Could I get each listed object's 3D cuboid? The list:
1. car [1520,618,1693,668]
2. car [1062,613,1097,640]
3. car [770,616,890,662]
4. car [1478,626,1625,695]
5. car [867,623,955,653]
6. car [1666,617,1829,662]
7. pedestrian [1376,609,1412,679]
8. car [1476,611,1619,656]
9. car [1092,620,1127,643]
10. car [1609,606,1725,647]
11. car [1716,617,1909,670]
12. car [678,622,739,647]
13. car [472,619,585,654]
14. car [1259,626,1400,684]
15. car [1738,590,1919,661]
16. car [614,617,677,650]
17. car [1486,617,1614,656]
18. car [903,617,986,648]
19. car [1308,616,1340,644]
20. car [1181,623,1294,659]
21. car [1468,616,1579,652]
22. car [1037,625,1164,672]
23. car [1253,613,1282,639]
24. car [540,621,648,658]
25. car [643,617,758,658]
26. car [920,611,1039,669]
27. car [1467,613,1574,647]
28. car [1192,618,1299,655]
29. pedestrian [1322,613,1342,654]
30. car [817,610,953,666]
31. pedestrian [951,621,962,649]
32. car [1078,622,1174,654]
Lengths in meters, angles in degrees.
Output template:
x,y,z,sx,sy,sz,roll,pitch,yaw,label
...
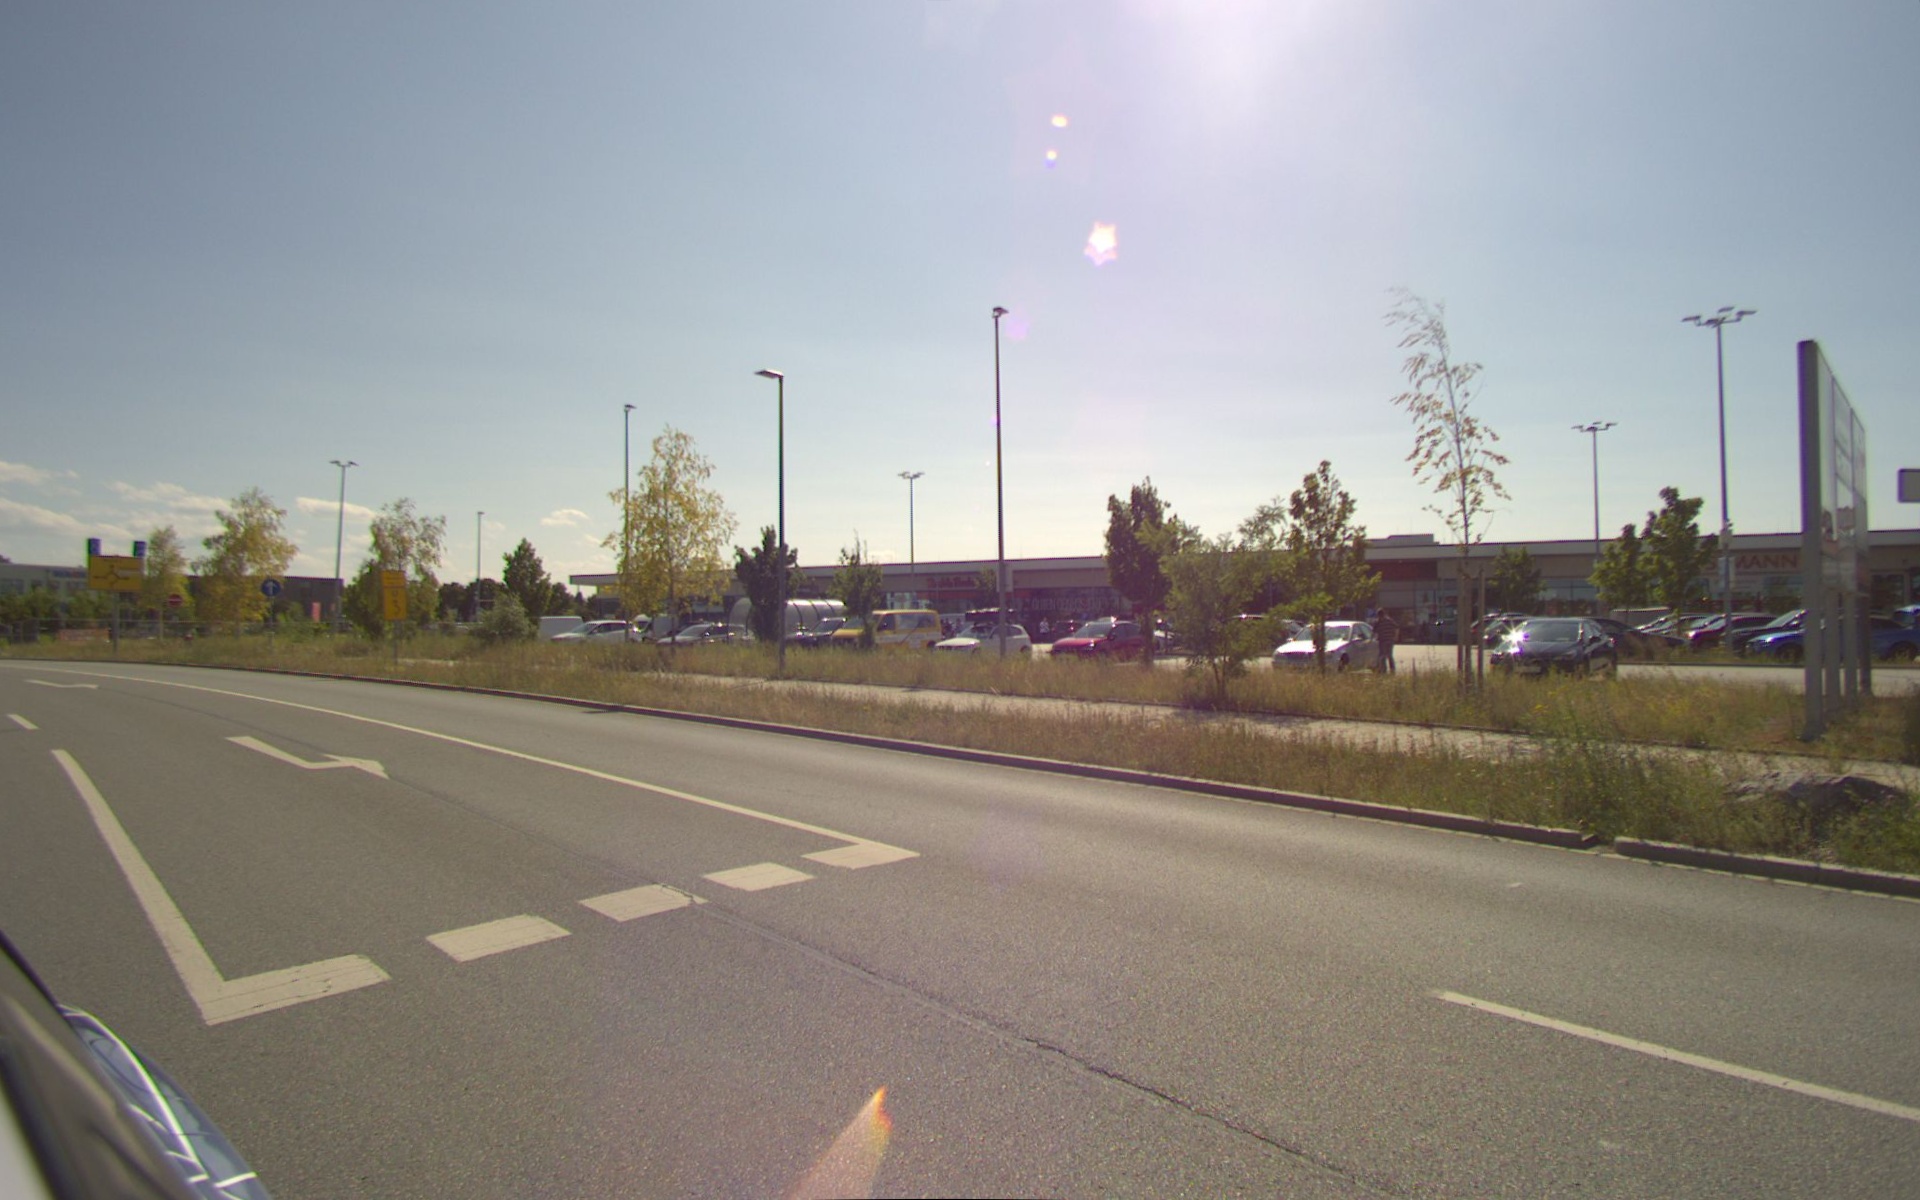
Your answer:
x,y,z,sx,sy,sz,roll,pitch,yaw,label
20.356,1.353,32.101,4.325,1.528,1.704,-1,-2,22,car
8.389,1.867,70.744,1.703,1.821,4.329,-1,-2,17,car
-4.967,1.501,39.345,1.879,1.685,4.724,-2,-2,37,car
13.069,1.258,22.252,1.936,1.358,4.099,-2,-2,43,car
-2.578,1.988,53.461,4.323,1.538,1.705,-1,-2,21,car
28.697,1.433,37.052,4.325,1.588,1.704,-1,-2,22,car
10.932,1.096,25.494,0.578,1.708,0.756,-1,-2,43,pedestrian
21.622,1.243,37.459,4.325,1.573,1.704,-1,-2,22,car
10.143,2.109,68.402,1.703,1.530,4.329,-1,-2,17,car
34.568,1.307,49.597,4.325,1.973,1.704,-1,-2,22,car
26.925,1.357,32.150,4.325,1.593,1.704,-1,-2,22,car
-16.267,2.202,65.632,1.832,1.564,3.968,-1,-2,23,car
-21.741,1.812,51.258,1.992,1.685,5.145,-1,-2,29,car
9.472,1.340,25.796,1.936,1.358,4.099,-2,-2,43,car
26.028,0.758,29.627,4.802,2.001,1.704,-1,-2,22,car
-26.033,2.791,83.912,1.926,2.607,5.680,-1,-2,20,car
24.320,1.514,41.899,4.325,1.556,1.704,-1,-2,22,car
-0.930,1.863,58.568,4.558,1.754,1.702,-1,-2,26,car
22.929,1.897,63.885,1.703,1.646,4.329,-1,-2,17,car
11.453,1.672,41.803,4.325,1.428,1.704,-1,-2,22,car
26.216,1.596,47.242,4.325,1.614,1.704,-1,-2,22,car
4.449,1.471,31.620,1.936,1.358,4.099,-2,-2,43,car
19.868,1.683,65.373,1.703,1.638,4.329,-1,-2,17,car
-17.443,1.844,48.389,1.995,1.685,4.550,-1,-2,35,car
-11.165,1.616,43.834,1.996,1.685,4.659,-2,-2,36,car
0.732,1.341,34.775,1.931,1.875,4.101,-2,-2,41,car
27.232,1.471,49.312,4.325,1.607,1.772,-1,-2,22,car
12.425,1.589,44.021,4.325,1.561,1.704,-1,-2,22,car
16.609,1.486,45.216,0.776,1.837,0.565,-1,-2,24,pedestrian
-2.738,1.436,38.599,1.997,1.980,5.629,-2,-2,37,car
-0.162,1.875,53.651,0.411,1.475,0.506,-1,-2,24,pedestrian
8.064,1.838,49.286,4.329,1.538,1.703,-1,-2,25,car
